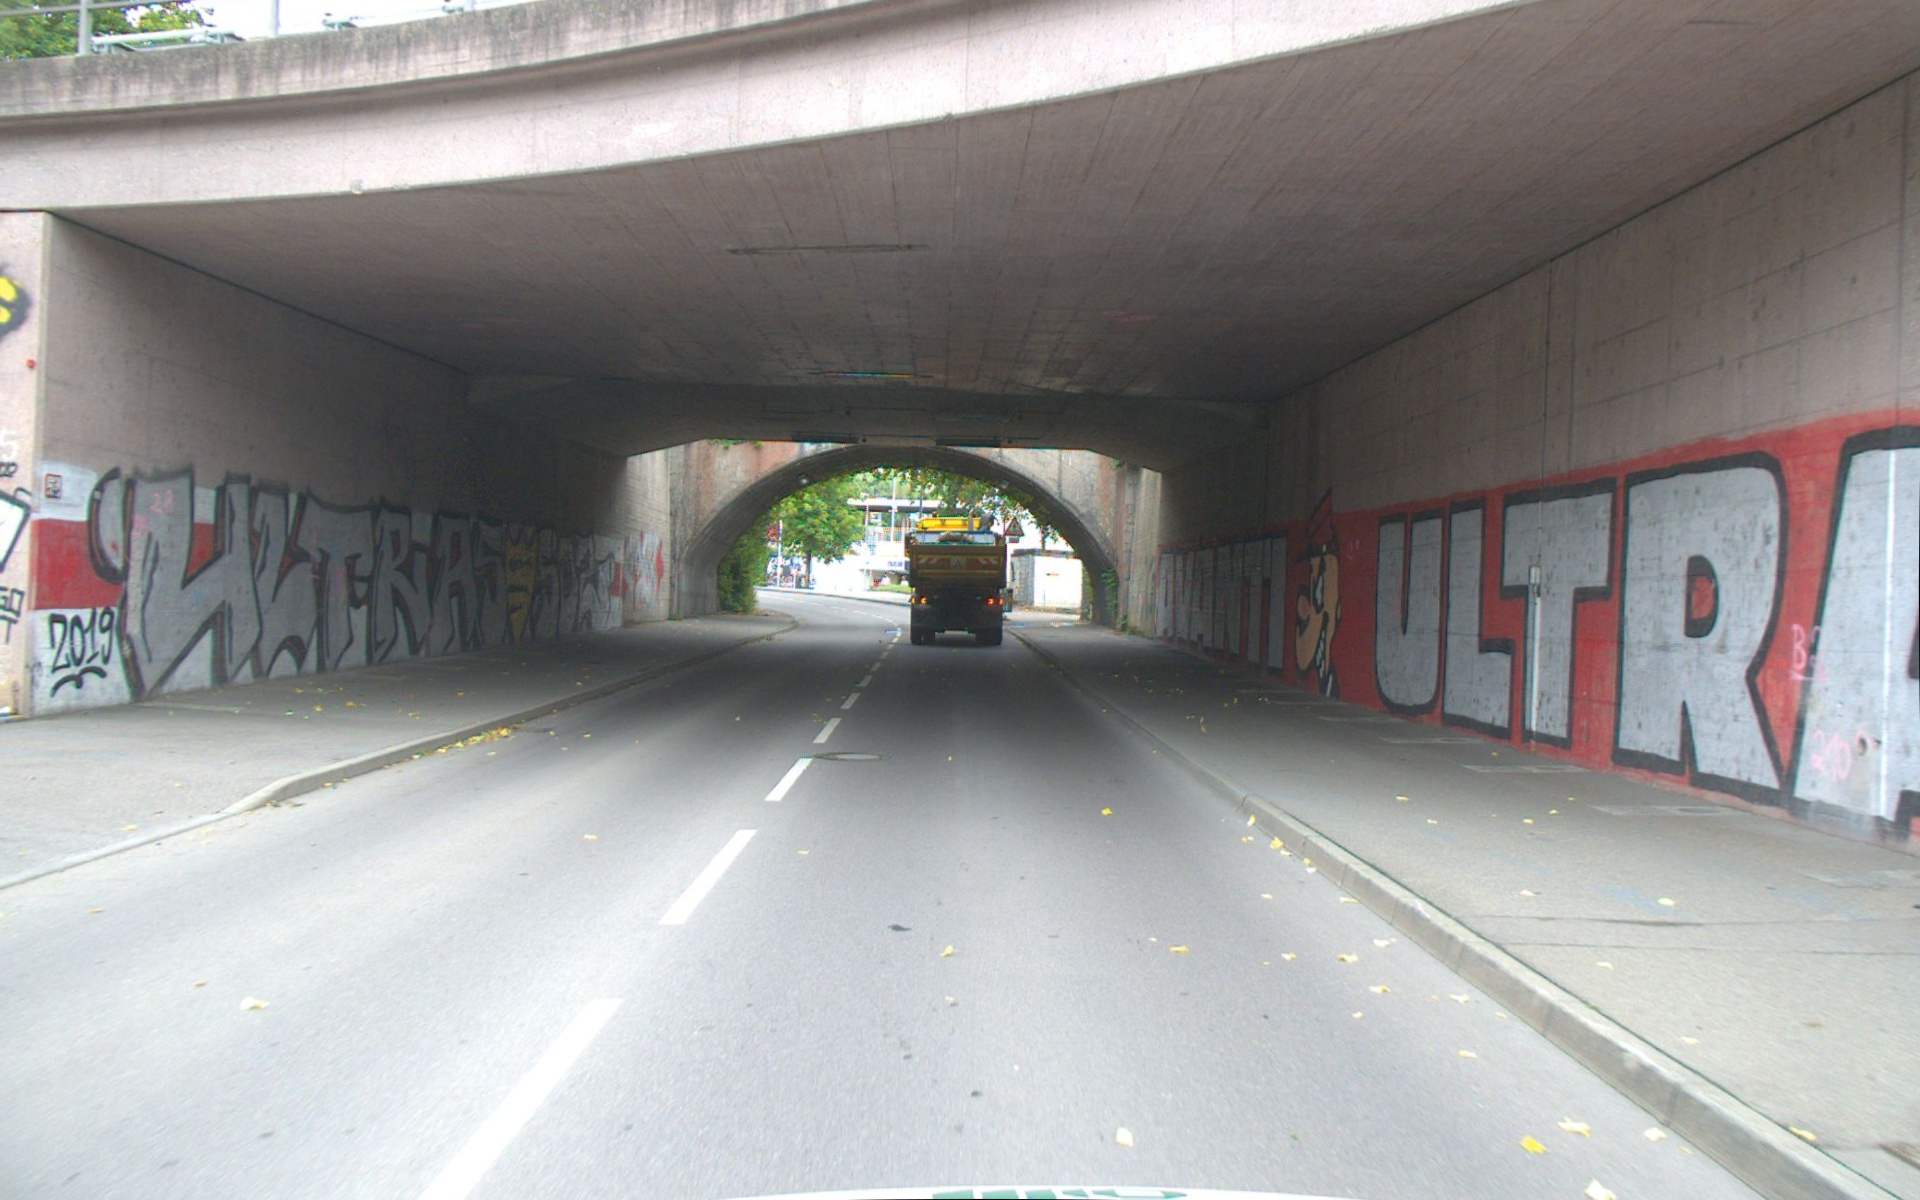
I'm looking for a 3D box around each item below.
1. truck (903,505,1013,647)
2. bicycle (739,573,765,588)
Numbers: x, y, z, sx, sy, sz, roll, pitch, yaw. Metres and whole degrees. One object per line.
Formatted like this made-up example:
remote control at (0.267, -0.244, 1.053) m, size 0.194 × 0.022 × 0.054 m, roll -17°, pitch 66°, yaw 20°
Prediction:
truck at (-0.022, -0.742, 46.123) m, size 2.708 × 3.544 × 8.131 m, roll 2°, pitch 2°, yaw 0°
bicycle at (-15.899, -1.501, 126.674) m, size 1.954 × 0.880 × 0.503 m, roll 7°, pitch -2°, yaw -41°
